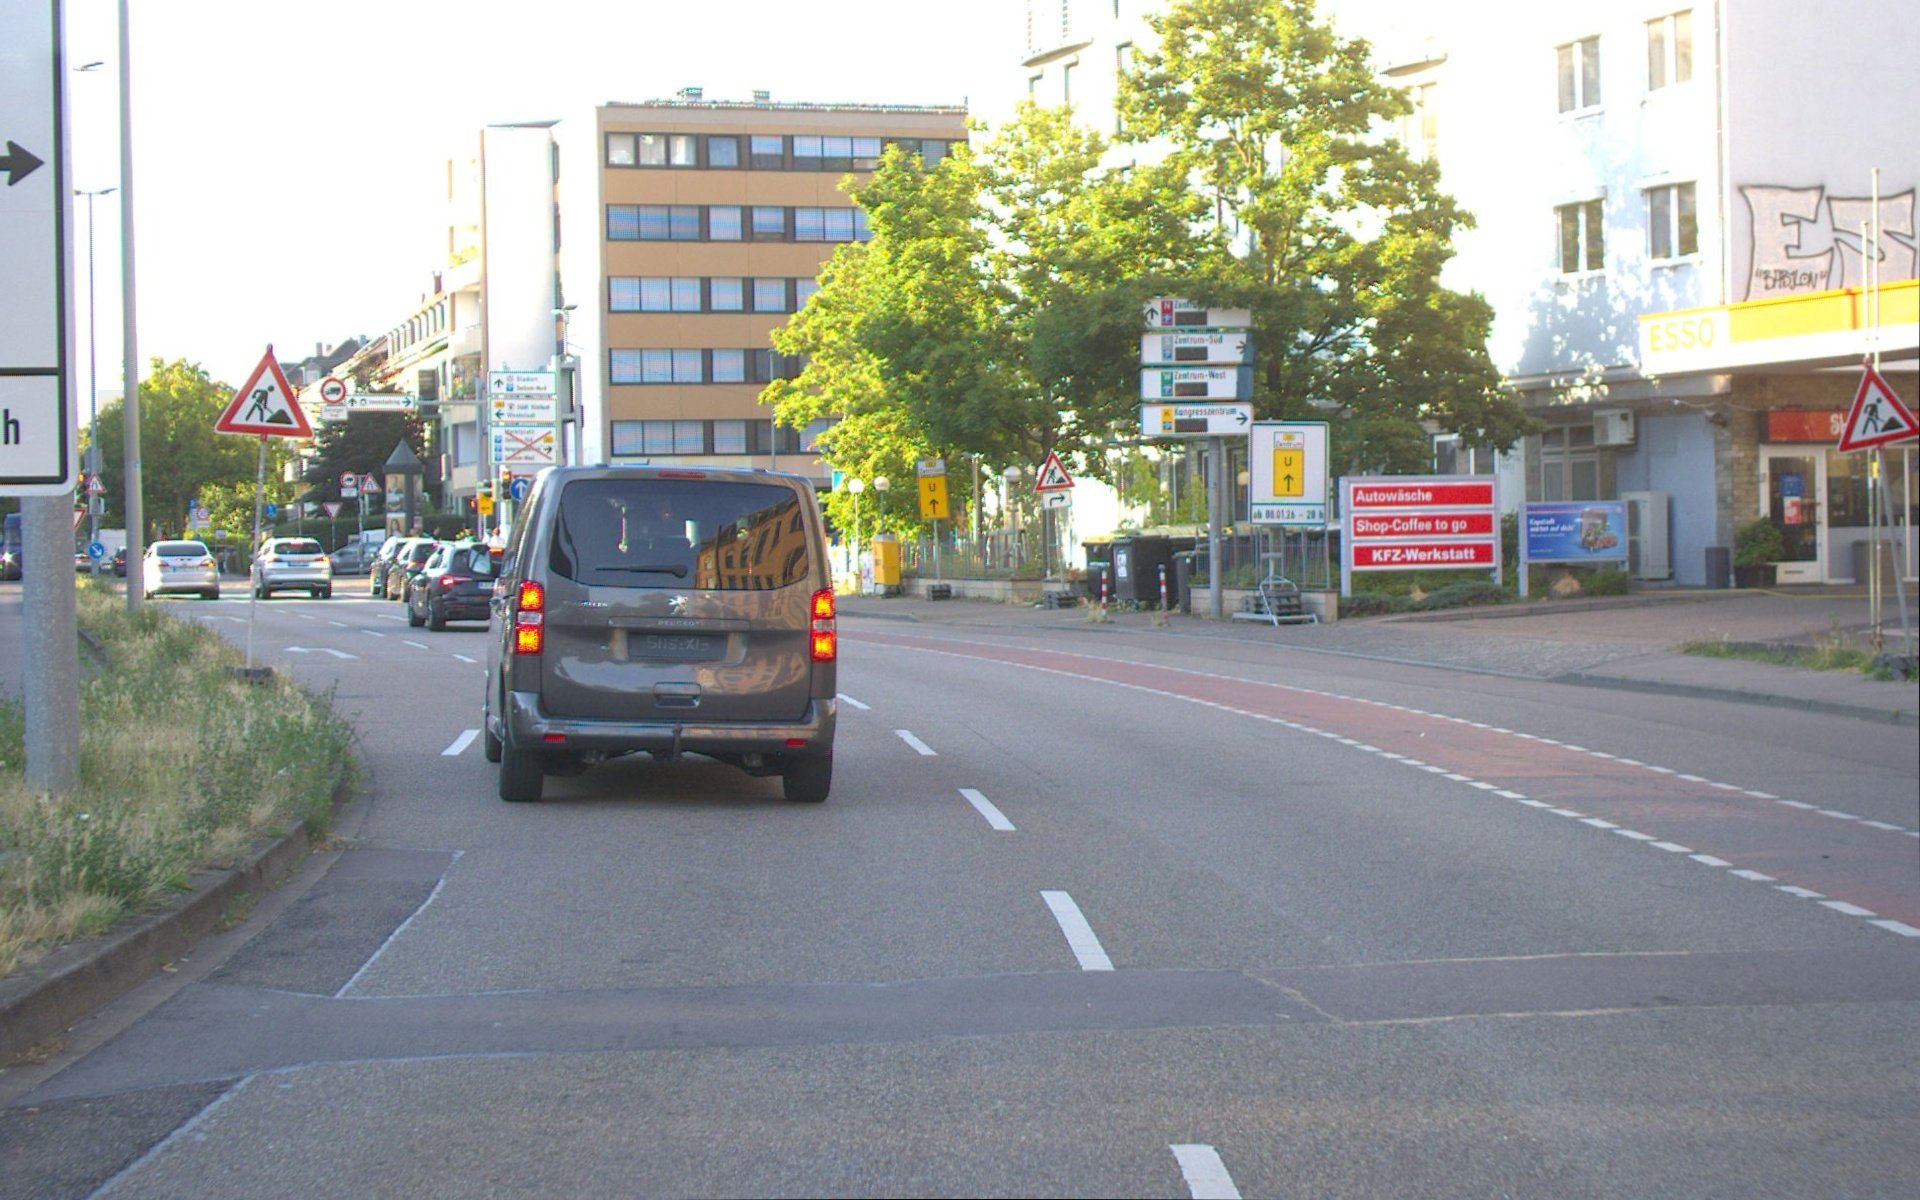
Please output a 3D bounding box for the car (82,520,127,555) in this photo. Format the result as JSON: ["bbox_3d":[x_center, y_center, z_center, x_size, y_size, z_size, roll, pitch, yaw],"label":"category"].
[{"bbox_3d":[-43.473,-3.178,174.619,1.848,1.702,3.726,-1,1,-19],"label":"car"}]

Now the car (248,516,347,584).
[{"bbox_3d":[-16.944,-1.295,87.795,1.993,1.651,4.300,-1,2,-17],"label":"car"}]

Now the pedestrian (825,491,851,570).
[{"bbox_3d":[-3.093,-1.763,87.193,0.490,2.007,0.664,-1,1,-16],"label":"pedestrian"}]

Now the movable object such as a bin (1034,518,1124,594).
[{"bbox_3d":[2.241,-0.839,64.971,1.462,1.381,1.547,-1,1,-6],"label":"movable object such as a bin"}]

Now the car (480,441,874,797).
[{"bbox_3d":[-1.811,0.055,20.650,1.993,1.894,4.300,1,1,-9],"label":"car"}]

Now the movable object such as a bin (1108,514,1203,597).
[{"bbox_3d":[3.499,-0.806,61.722,1.462,1.449,1.547,-1,1,-6],"label":"movable object such as a bin"}]

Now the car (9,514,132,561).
[{"bbox_3d":[-31.494,-2.221,121.715,3.986,1.590,2.001,-1,2,-22],"label":"car"}]

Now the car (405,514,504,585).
[{"bbox_3d":[-12.347,-1.248,83.800,1.993,1.651,4.300,-1,1,-13],"label":"car"}]

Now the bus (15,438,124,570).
[{"bbox_3d":[-32.758,-3.482,126.252,3.289,4.601,10.003,0,1,-18],"label":"bus"}]

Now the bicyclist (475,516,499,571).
[{"bbox_3d":[-12.526,-1.501,91.107,0.540,1.454,0.641,-1,1,-14],"label":"bicyclist"}]

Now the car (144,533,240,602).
[{"bbox_3d":[-19.347,-0.830,86.547,1.993,1.651,4.300,-1,2,-17],"label":"car"}]

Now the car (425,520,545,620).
[{"bbox_3d":[-7.673,-0.514,55.596,1.845,1.539,3.632,-1,2,-8],"label":"car"}]
